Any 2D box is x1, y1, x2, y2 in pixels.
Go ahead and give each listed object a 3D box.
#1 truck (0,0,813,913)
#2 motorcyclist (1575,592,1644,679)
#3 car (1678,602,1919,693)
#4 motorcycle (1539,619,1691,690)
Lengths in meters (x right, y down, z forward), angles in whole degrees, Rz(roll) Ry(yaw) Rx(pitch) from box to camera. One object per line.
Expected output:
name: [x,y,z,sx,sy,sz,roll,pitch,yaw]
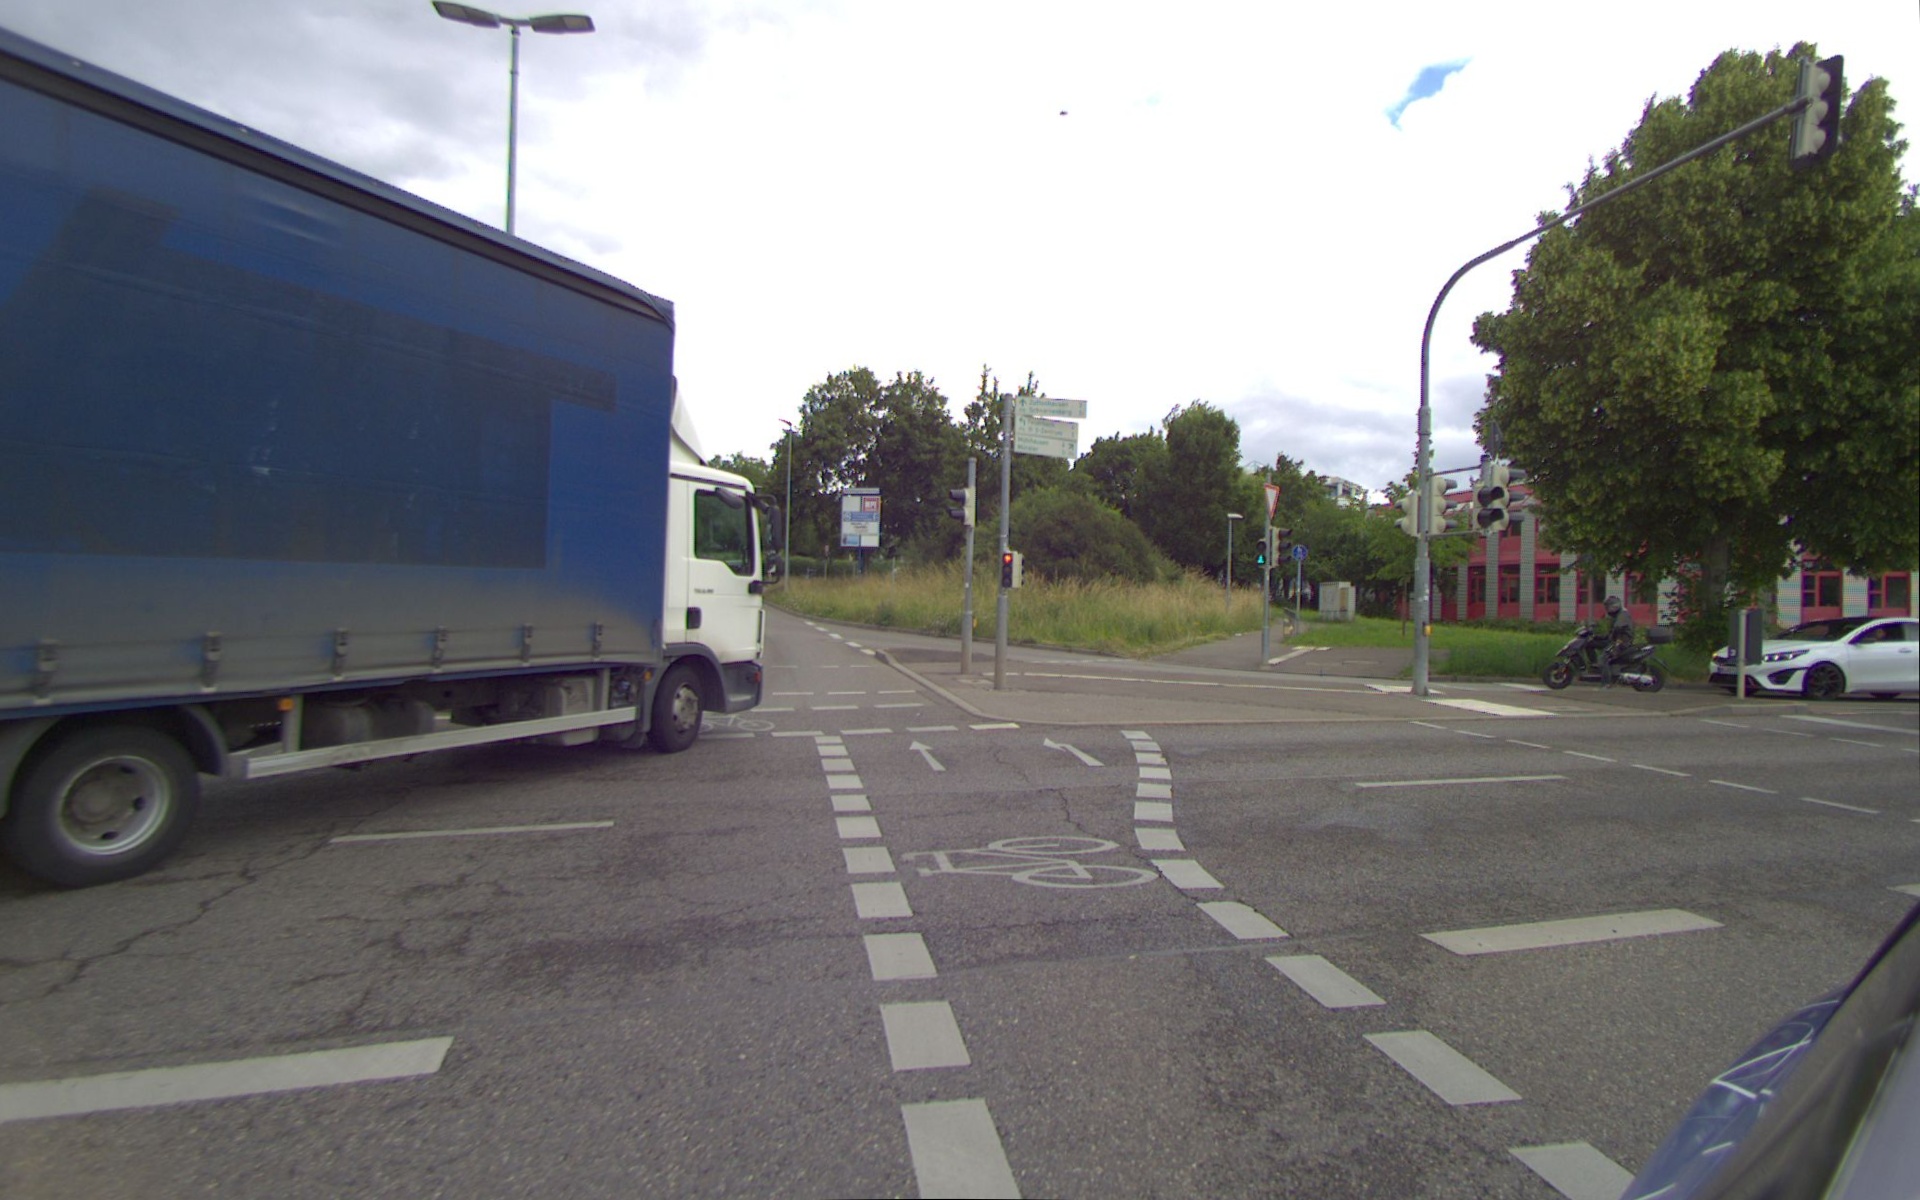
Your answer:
truck: [-4.396,-0.688,6.409,2.758,3.852,8.318,1,1,25]
motorcyclist: [11.165,0.597,17.421,0.806,1.439,0.755,1,-1,19]
car: [14.981,0.782,17.083,4.426,1.438,1.836,1,-1,-2]
motorcycle: [11.217,0.907,17.406,2.043,1.104,0.754,2,0,19]
